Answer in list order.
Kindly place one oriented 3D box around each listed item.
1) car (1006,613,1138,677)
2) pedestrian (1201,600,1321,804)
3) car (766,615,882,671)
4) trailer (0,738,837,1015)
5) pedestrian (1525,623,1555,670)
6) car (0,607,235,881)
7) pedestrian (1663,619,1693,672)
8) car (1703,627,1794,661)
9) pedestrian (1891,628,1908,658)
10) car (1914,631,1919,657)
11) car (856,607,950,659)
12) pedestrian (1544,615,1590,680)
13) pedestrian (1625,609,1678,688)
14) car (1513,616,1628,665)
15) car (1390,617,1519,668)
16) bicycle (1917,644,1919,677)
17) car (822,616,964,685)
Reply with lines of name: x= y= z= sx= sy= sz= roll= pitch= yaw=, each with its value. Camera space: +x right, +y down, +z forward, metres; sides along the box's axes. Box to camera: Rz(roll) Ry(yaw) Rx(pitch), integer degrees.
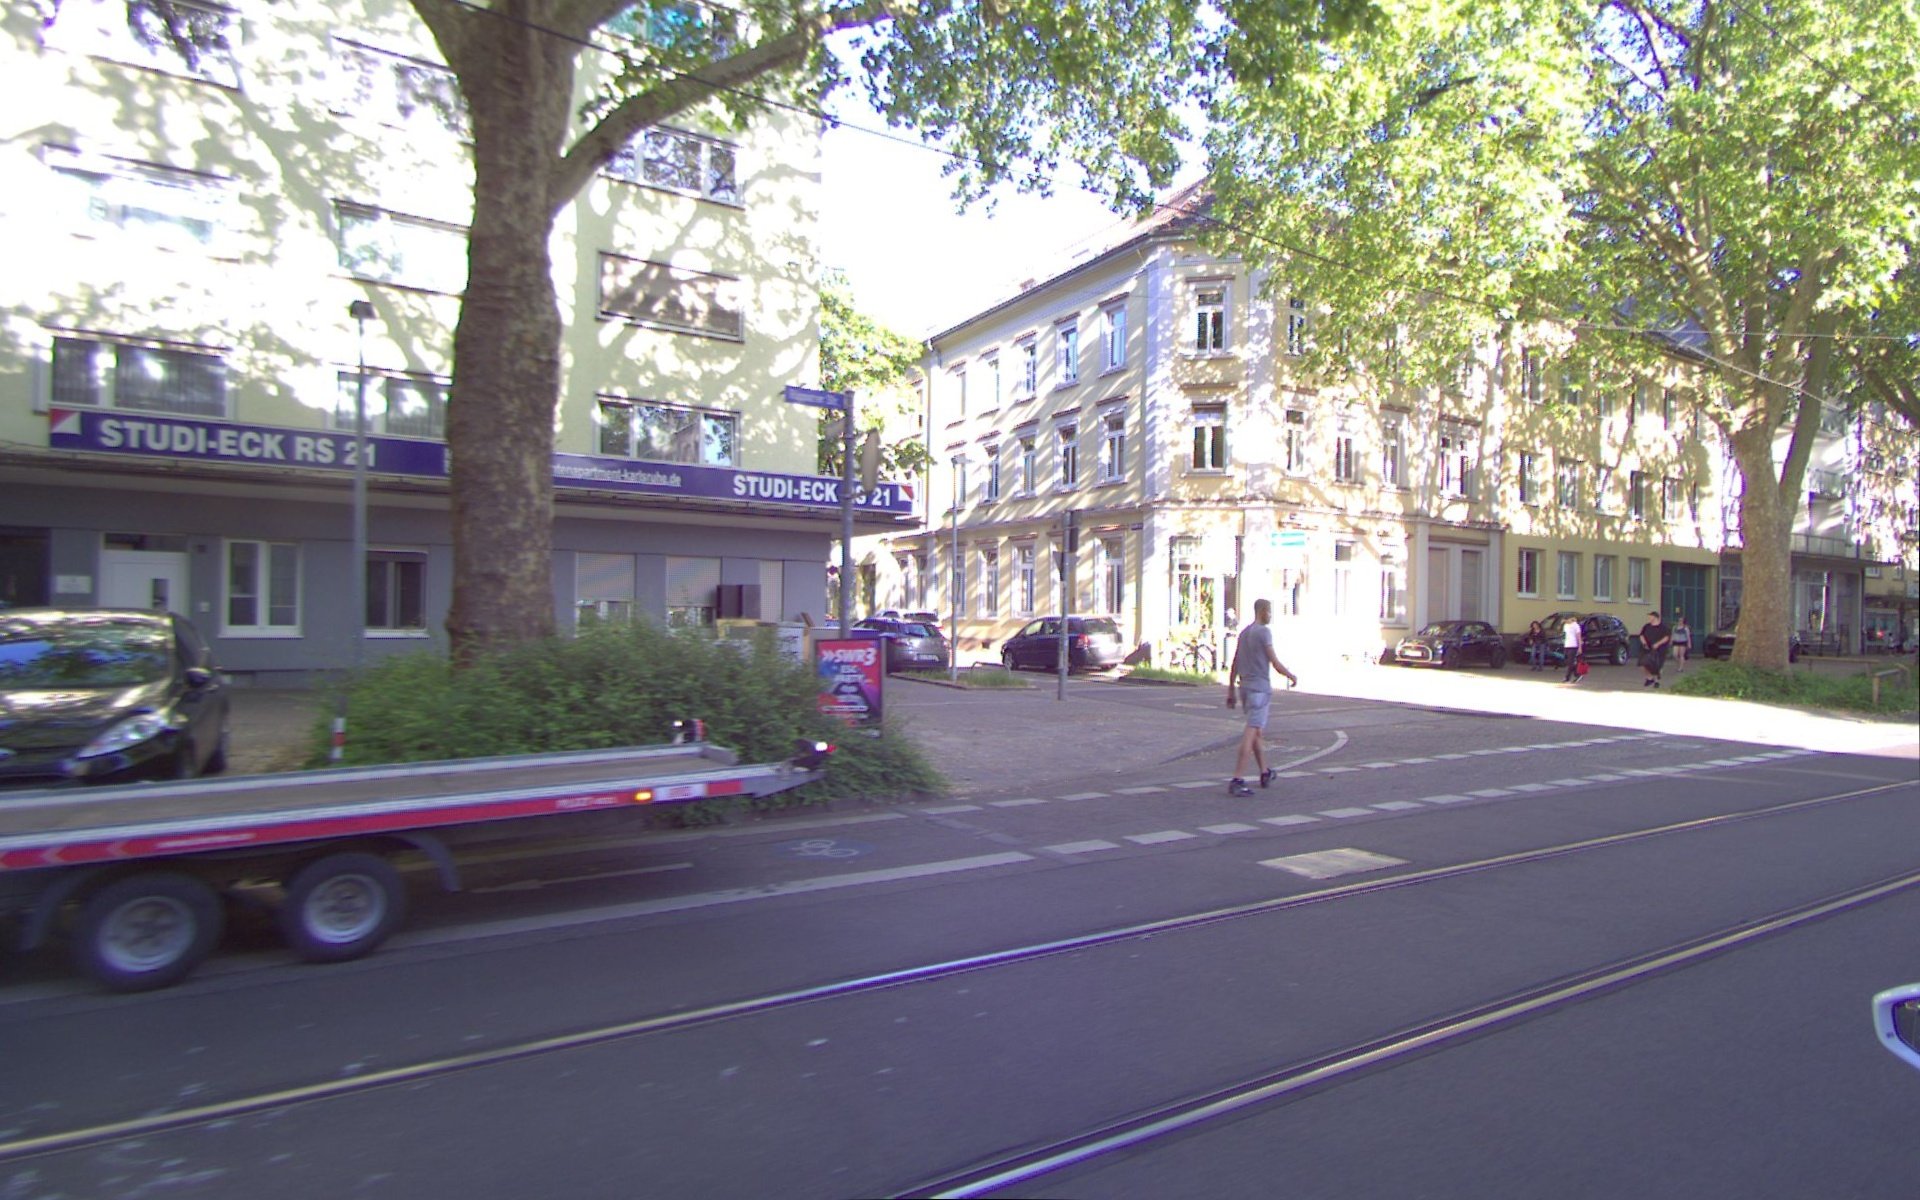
car: x=3.121 y=1.207 z=28.664 sx=1.976 sy=1.606 sz=3.631 roll=-2 pitch=1 yaw=-29
pedestrian: x=2.776 y=0.897 z=9.258 sx=0.907 sy=1.758 sz=0.704 roll=1 pitch=-2 yaw=-45
car: x=-4.021 y=1.198 z=29.162 sx=1.802 sy=1.471 sz=3.963 roll=1 pitch=-1 yaw=-34
trailer: x=-3.901 y=1.232 z=4.701 sx=6.330 sy=0.640 sz=2.149 roll=1 pitch=-2 yaw=-33
pedestrian: x=17.640 y=1.405 z=30.545 sx=0.642 sy=1.421 sz=0.548 roll=1 pitch=-1 yaw=-34
car: x=-6.373 y=0.834 z=7.142 sx=1.768 sy=1.551 sz=3.410 roll=1 pitch=-1 yaw=-33
pedestrian: x=23.178 y=1.452 z=32.419 sx=0.641 sy=1.674 sz=0.550 roll=1 pitch=-1 yaw=-27
car: x=31.825 y=1.747 z=40.532 sx=3.784 sy=1.293 sz=1.687 roll=1 pitch=-1 yaw=-31
pedestrian: x=49.961 y=2.277 z=53.406 sx=0.568 sy=1.604 sz=0.549 roll=1 pitch=-1 yaw=-35
car: x=66.006 y=2.961 z=66.442 sx=1.981 sy=1.728 sz=3.959 roll=1 pitch=-1 yaw=-36
car: x=-2.199 y=1.196 z=37.449 sx=1.864 sy=1.793 sz=3.966 roll=1 pitch=-1 yaw=-31
pedestrian: x=15.701 y=1.217 z=26.002 sx=0.638 sy=1.654 sz=0.840 roll=1 pitch=-1 yaw=-36
pedestrian: x=16.987 y=1.181 z=24.679 sx=0.638 sy=1.894 sz=0.899 roll=1 pitch=-1 yaw=-36
car: x=20.841 y=1.375 z=34.261 sx=3.953 sy=1.537 sz=1.673 roll=1 pitch=0 yaw=-30
car: x=15.231 y=1.279 z=30.905 sx=3.953 sy=1.483 sz=1.674 roll=1 pitch=-1 yaw=-30
bicycle: x=31.515 y=1.990 z=31.975 sx=0.444 sy=1.076 sz=1.696 roll=2 pitch=1 yaw=0
car: x=-1.740 y=1.190 z=24.923 sx=1.802 sy=1.555 sz=3.963 roll=1 pitch=-1 yaw=-34
